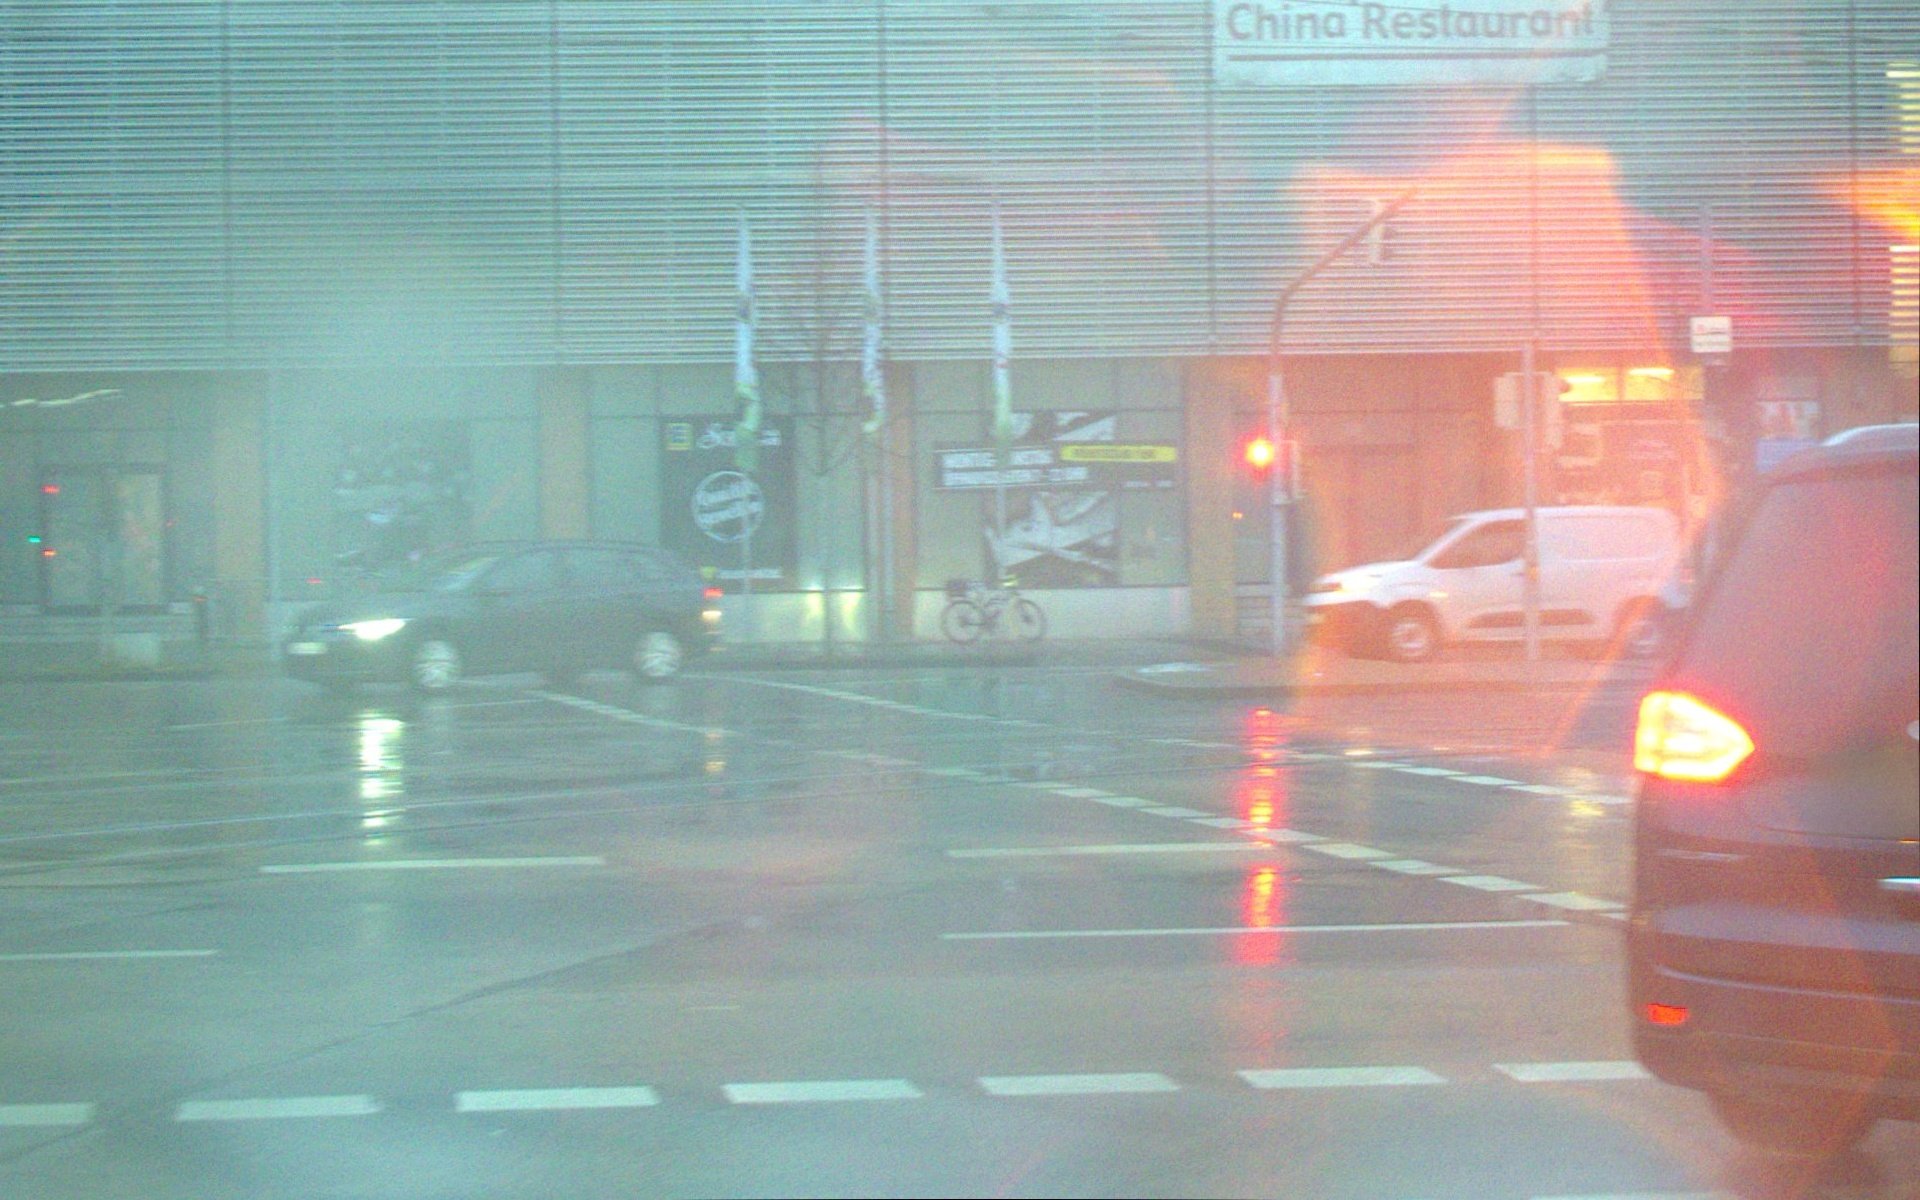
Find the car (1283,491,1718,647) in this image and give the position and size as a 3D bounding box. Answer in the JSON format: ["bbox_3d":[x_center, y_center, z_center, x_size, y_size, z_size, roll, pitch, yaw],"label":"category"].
[{"bbox_3d":[6.245,-0.372,39.947,4.594,1.713,1.930,-1,1,-9],"label":"car"}]

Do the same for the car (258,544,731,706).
[{"bbox_3d":[-4.501,0.205,33.667,4.411,1.440,1.628,-2,1,-42],"label":"car"}]

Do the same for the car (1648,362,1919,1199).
[{"bbox_3d":[3.305,0.427,8.188,1.677,1.773,3.991,2,1,37],"label":"car"}]

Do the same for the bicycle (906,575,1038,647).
[{"bbox_3d":[0.182,0.175,54.979,2.084,1.118,0.477,1,0,-2],"label":"bicycle"}]

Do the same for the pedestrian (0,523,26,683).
[{"bbox_3d":[-14.961,0.038,52.540,1.110,2.431,0.966,1,0,-1],"label":"pedestrian"}]
